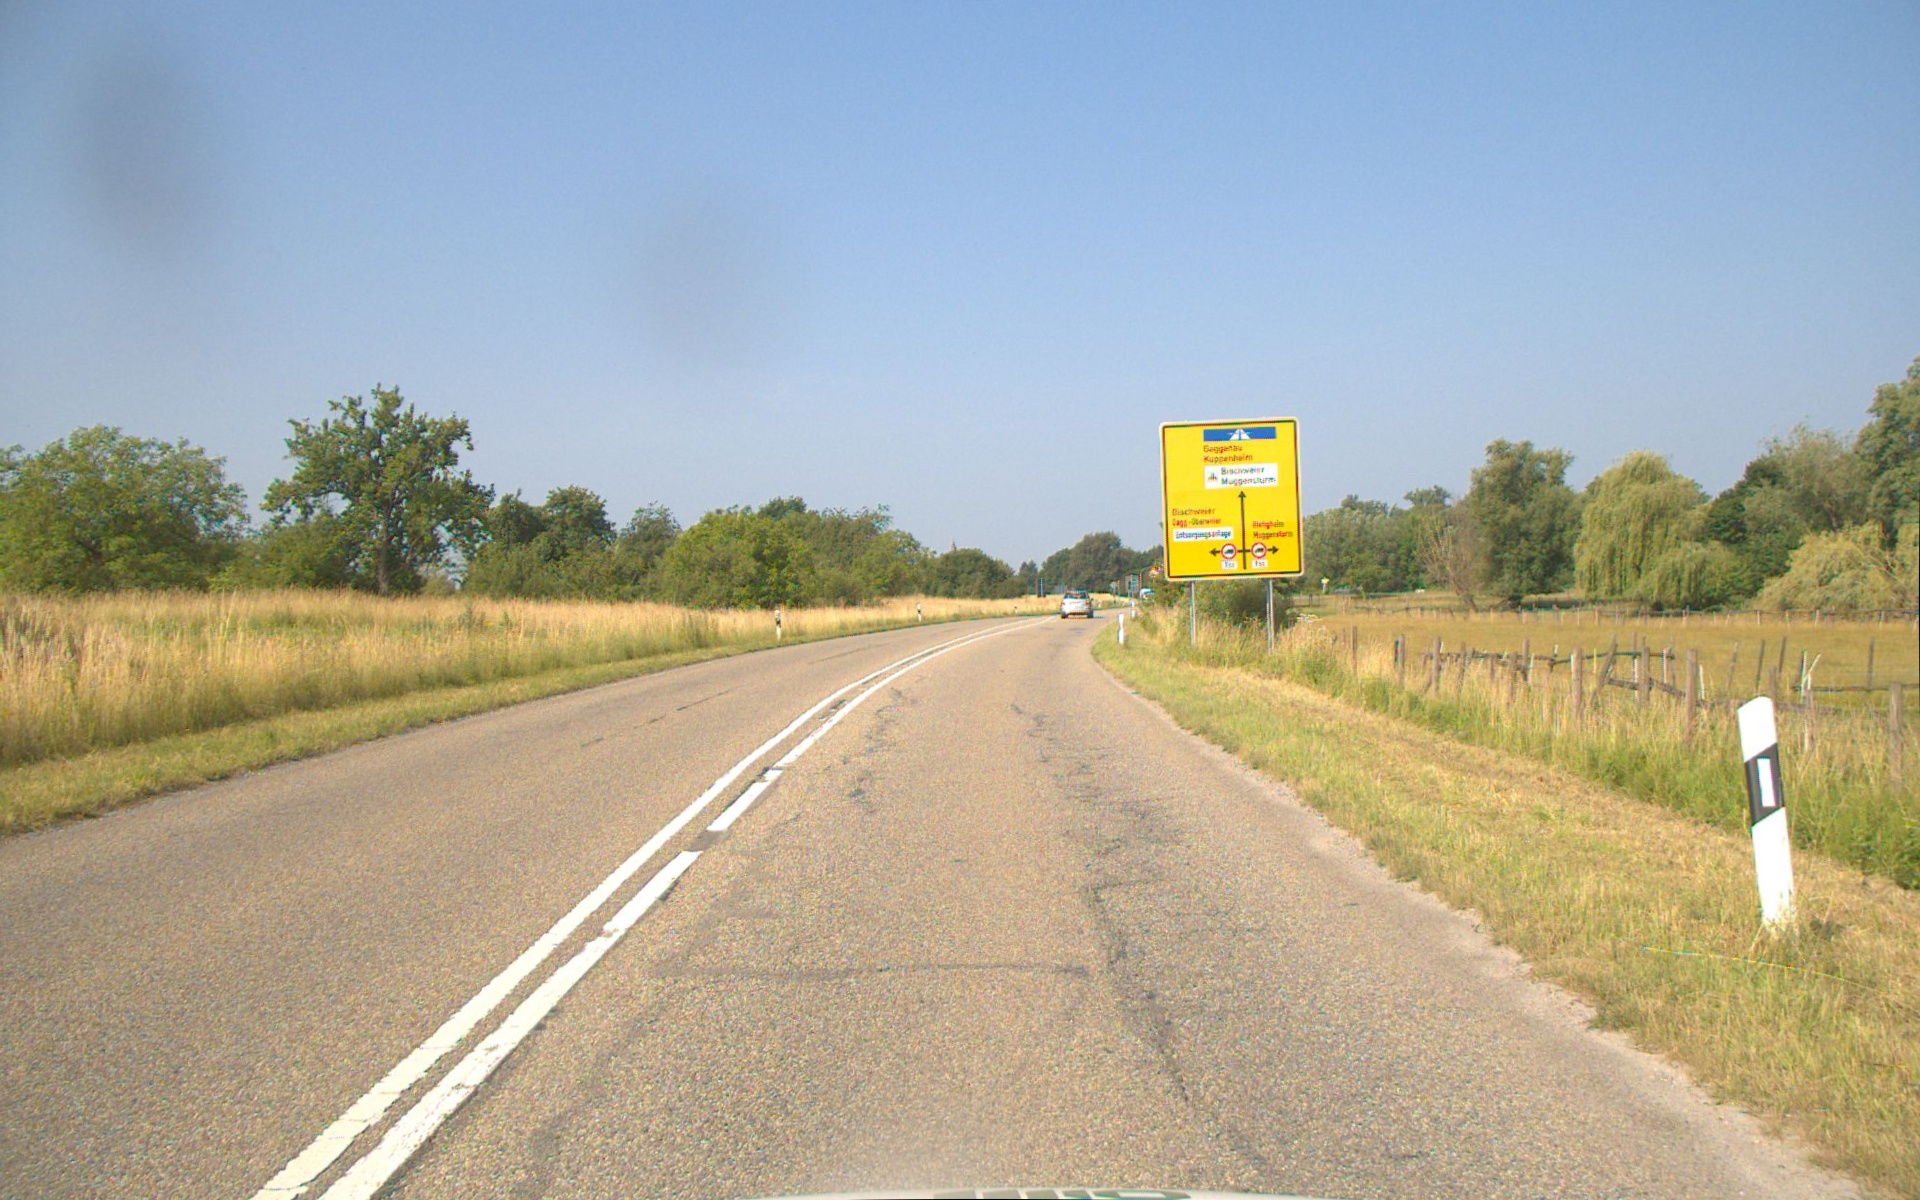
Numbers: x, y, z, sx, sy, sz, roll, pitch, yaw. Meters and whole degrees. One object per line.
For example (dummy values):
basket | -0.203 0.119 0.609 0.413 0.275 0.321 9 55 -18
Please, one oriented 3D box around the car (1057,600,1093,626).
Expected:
car | 6.914 0.776 98.975 1.858 1.538 4.003 1 0 8
